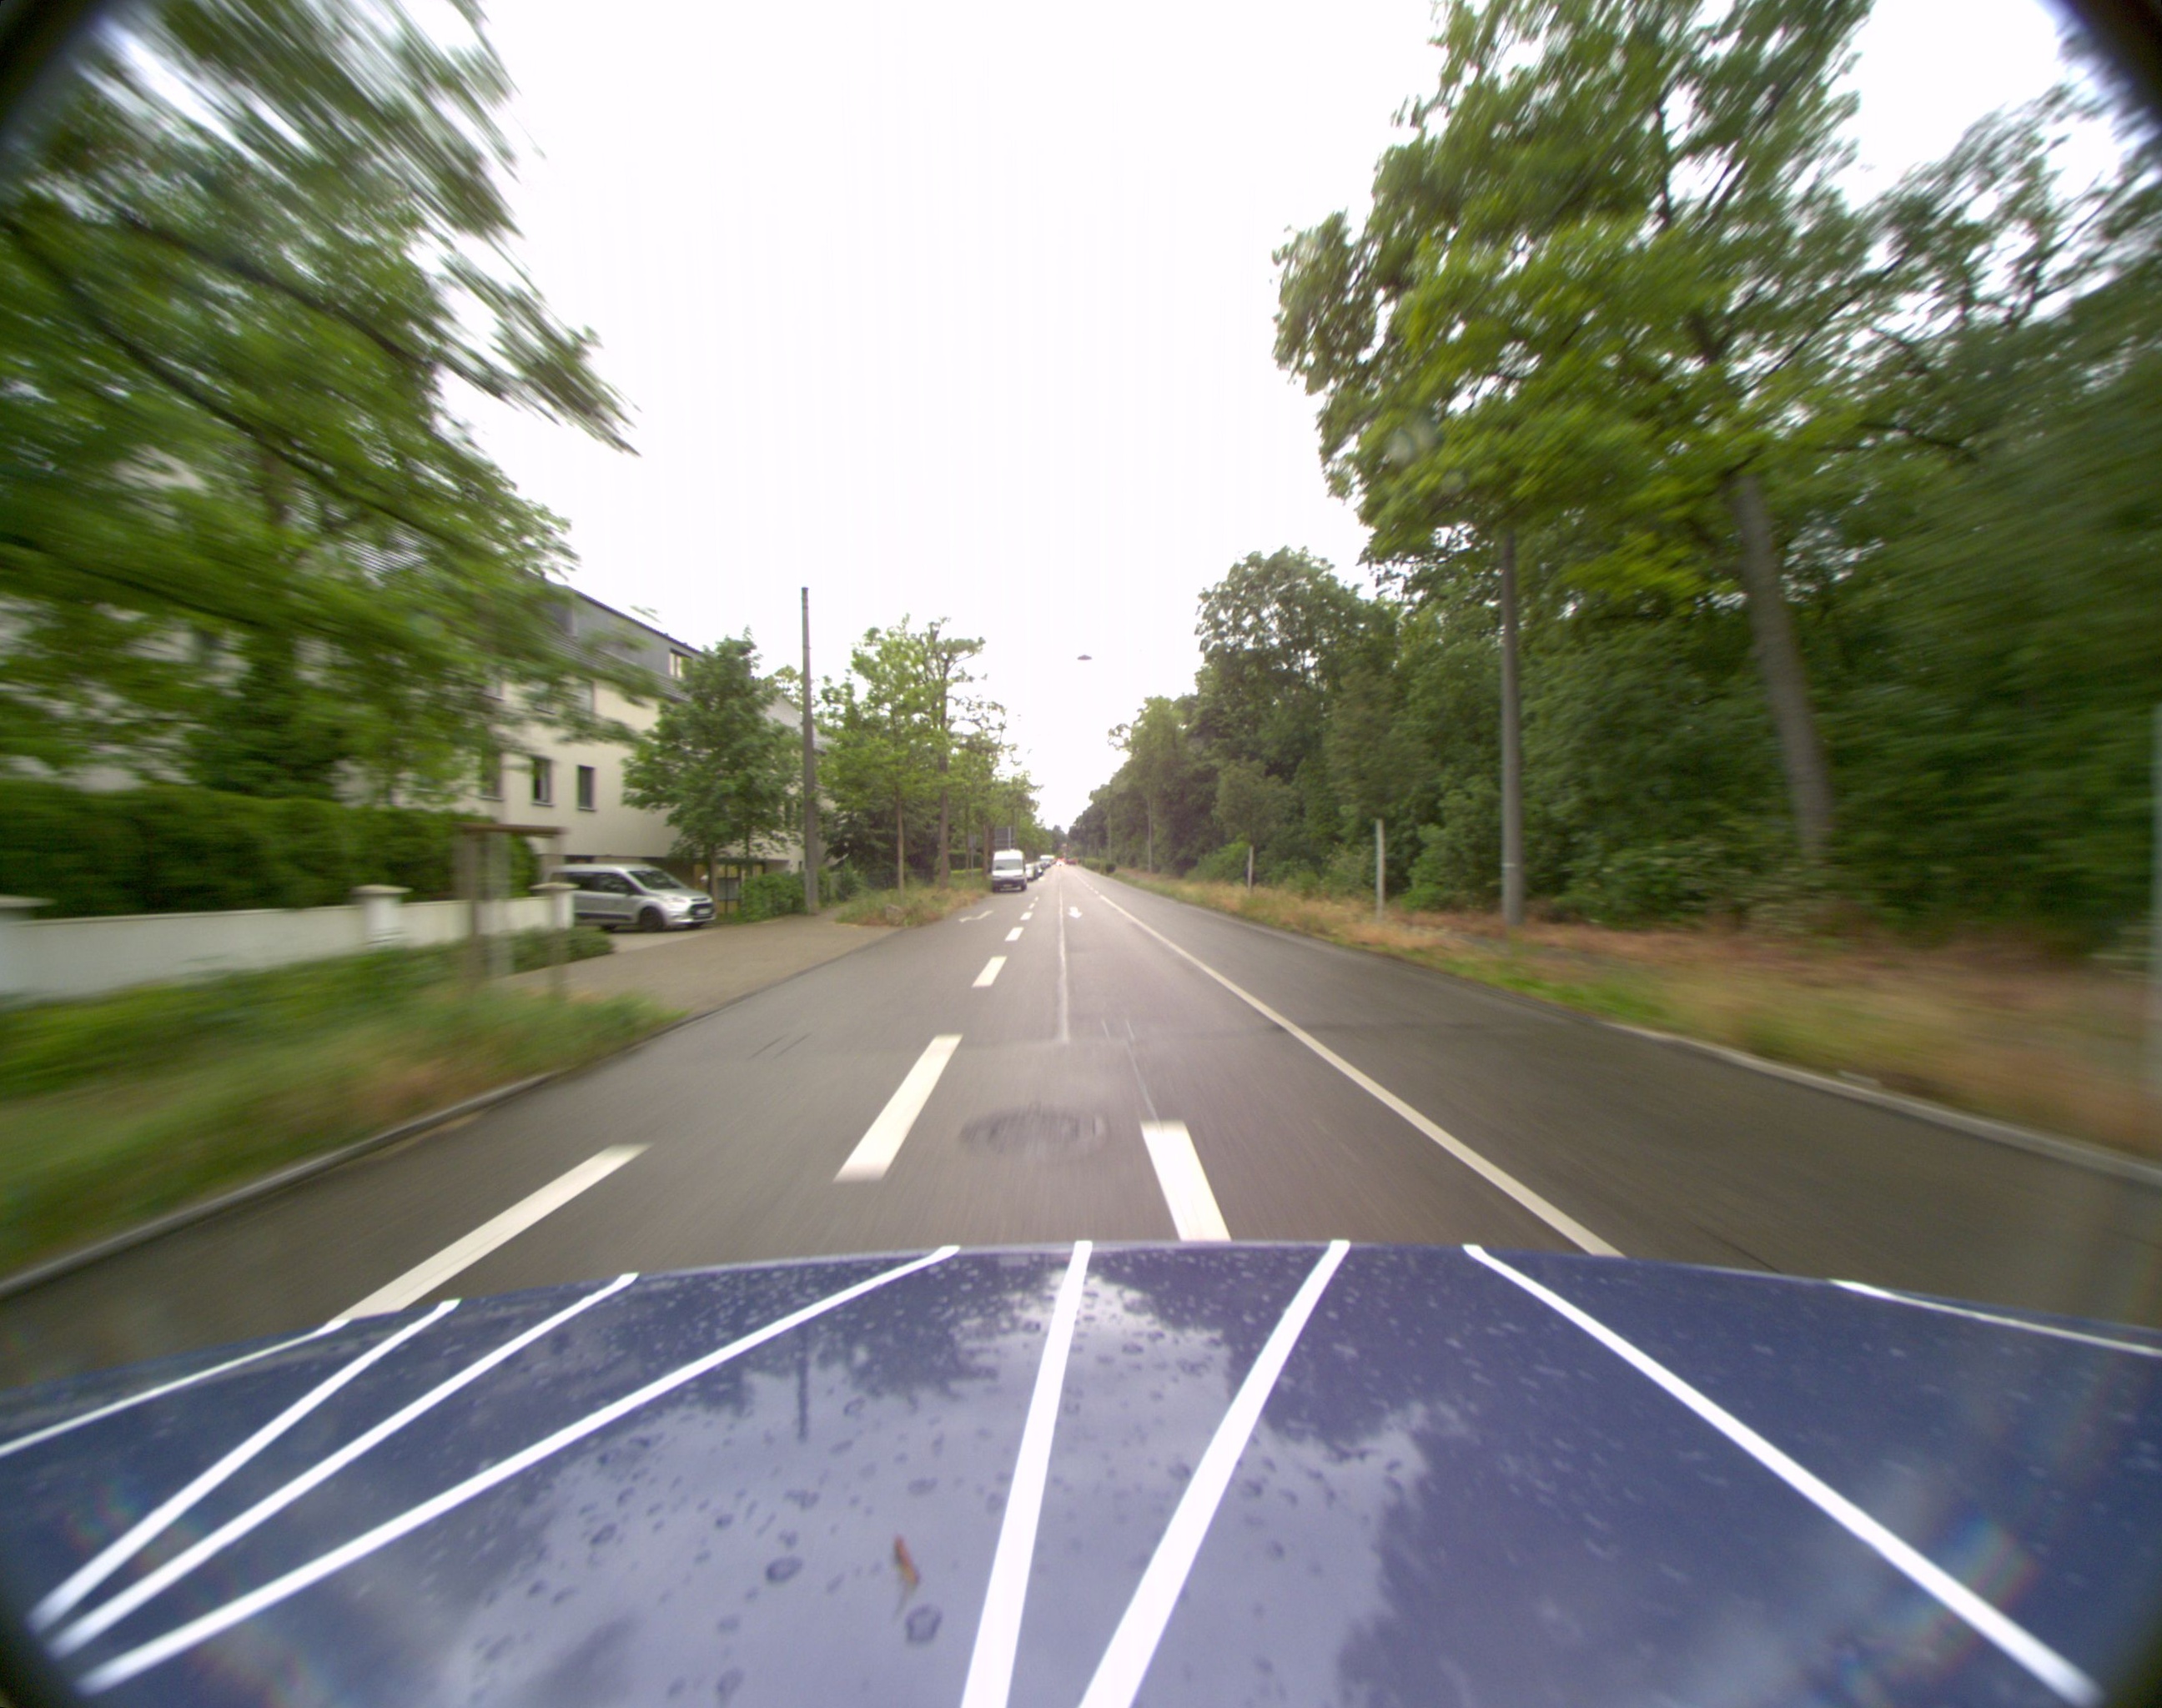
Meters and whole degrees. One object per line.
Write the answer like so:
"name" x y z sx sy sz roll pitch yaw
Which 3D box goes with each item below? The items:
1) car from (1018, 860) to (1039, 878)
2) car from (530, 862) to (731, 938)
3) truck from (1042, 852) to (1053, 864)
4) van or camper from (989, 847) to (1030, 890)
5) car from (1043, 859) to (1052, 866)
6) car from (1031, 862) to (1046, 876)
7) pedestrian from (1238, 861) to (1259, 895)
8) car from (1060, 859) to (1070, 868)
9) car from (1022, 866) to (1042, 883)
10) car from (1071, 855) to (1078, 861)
"car" -4.623 1.300 67.230 1.576 1.463 3.764 -3 0 -1
"car" -11.839 1.185 20.096 4.312 1.807 1.875 -2 0 9
"truck" -7.006 0.845 158.515 2.230 2.321 5.112 0 0 -3
"van or camper" -4.417 0.865 47.803 2.042 2.465 5.637 -3 0 -2
"car" -6.388 1.617 145.606 1.789 1.452 3.999 0 0 -3
"car" -4.701 1.667 84.283 1.622 1.459 4.409 -3 0 -3
"pedestrian" 7.933 1.141 35.965 0.783 1.598 0.732 -1 0 -2
"car" -3.721 2.153 176.525 1.998 2.002 3.999 -2 1 0
"car" -4.701 1.988 73.019 1.621 1.462 3.944 -3 0 0
"car" -1.563 1.058 193.554 1.681 1.608 4.061 0 0 -2
